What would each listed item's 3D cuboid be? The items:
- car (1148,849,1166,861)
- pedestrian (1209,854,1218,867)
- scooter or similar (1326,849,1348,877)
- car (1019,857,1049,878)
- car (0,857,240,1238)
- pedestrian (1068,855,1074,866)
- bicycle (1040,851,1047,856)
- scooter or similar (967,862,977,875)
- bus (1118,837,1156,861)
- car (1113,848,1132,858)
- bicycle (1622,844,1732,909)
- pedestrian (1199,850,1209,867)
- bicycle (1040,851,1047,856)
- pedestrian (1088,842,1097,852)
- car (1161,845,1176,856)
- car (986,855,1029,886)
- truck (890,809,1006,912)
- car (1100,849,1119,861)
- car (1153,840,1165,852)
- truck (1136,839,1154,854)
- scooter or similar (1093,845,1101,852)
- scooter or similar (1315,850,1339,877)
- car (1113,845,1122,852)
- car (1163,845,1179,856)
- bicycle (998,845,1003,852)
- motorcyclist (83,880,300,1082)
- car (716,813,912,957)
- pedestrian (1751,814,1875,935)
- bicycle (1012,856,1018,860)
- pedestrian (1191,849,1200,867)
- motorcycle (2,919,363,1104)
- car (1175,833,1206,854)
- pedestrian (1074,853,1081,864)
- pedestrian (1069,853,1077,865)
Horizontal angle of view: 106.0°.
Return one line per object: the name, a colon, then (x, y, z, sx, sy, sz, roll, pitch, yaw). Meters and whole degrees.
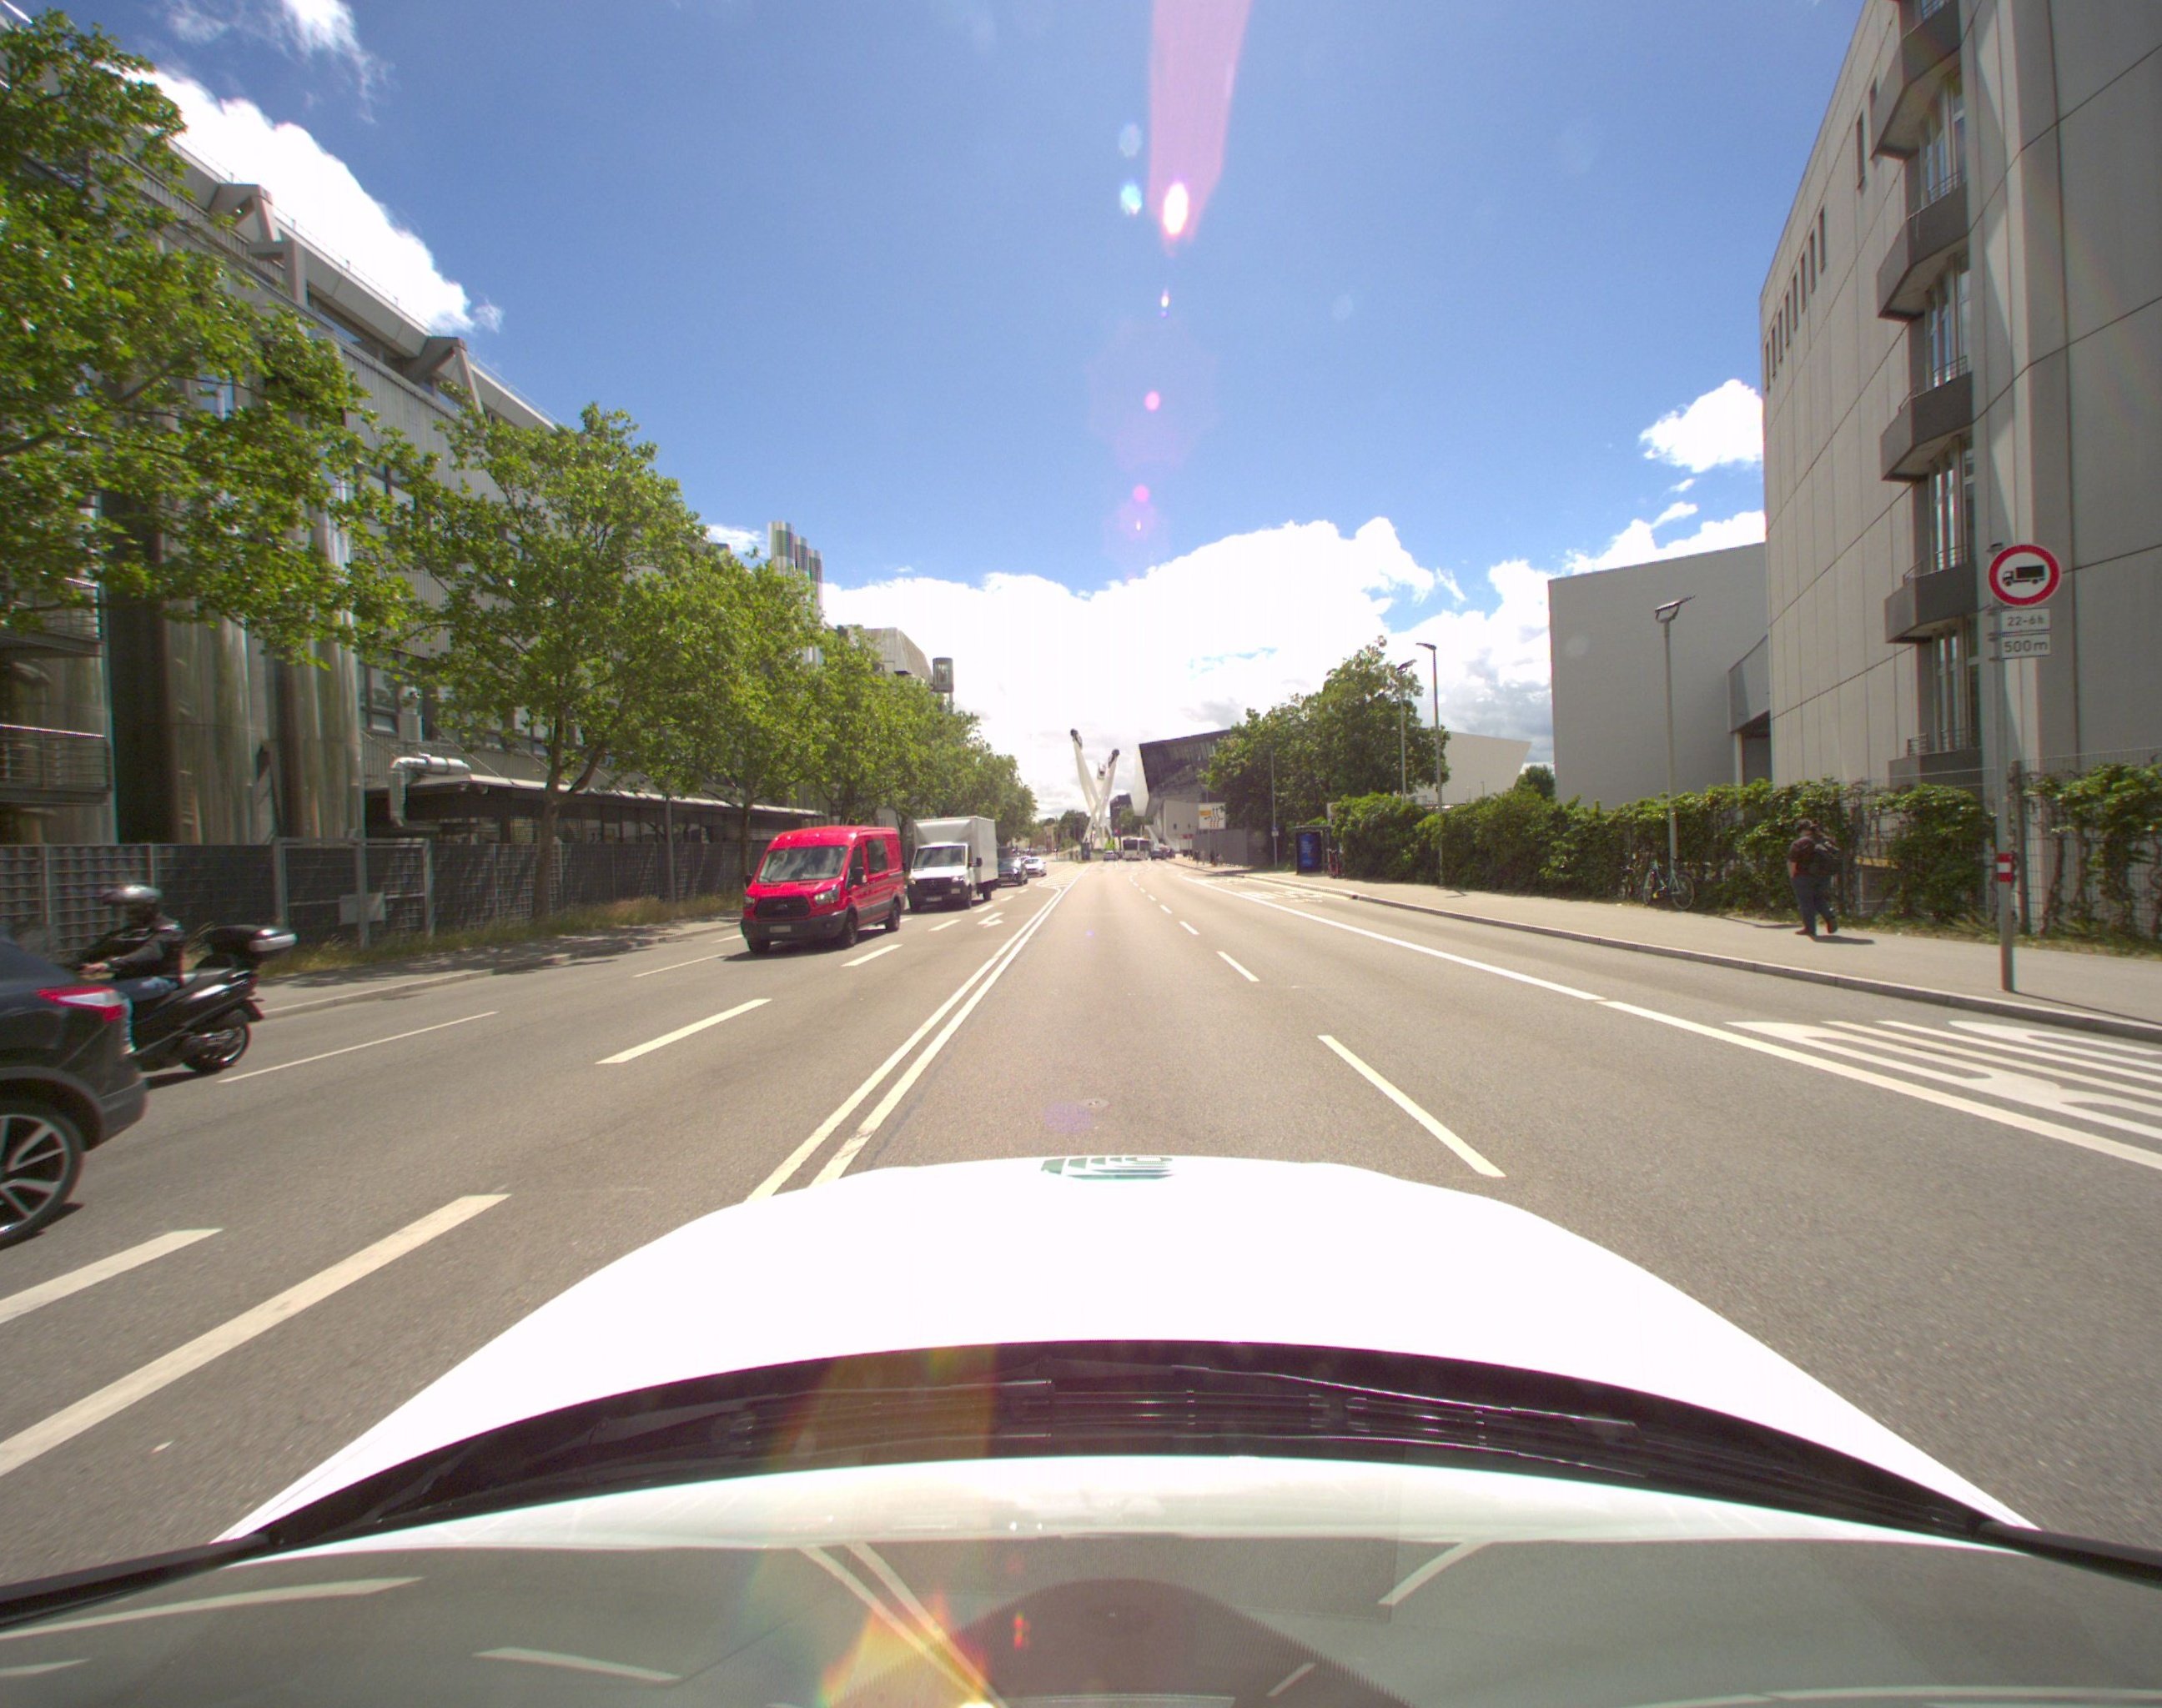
car: (11.357, 0.119, 121.826, 1.979, 1.636, 4.016, -1, 1, 15)
pedestrian: (12.169, 0.575, 74.999, 0.754, 1.148, 0.973, -1, -1, 5)
scooter or similar: (11.452, 0.387, 36.348, 0.536, 1.163, 1.803, -3, 0, 29)
car: (-3.468, 0.978, 60.663, 1.685, 1.415, 4.148, -4, 0, 2)
car: (-5.699, 0.908, 2.493, 1.730, 1.684, 4.214, -4, -1, 1)
pedestrian: (-1.726, 1.064, 137.612, 0.864, 1.774, 1.031, -1, -1, -12)
bicycle: (-9.467, -0.104, 205.046, 1.600, 1.316, 0.493, -1, -1, 1)
scooter or similar: (-10.299, 1.374, 77.103, 0.520, 1.234, 1.321, 1, 1, 9)
bus: (8.587, -0.656, 123.105, 3.048, 3.362, 12.274, -1, -1, 16)
car: (6.599, -0.156, 129.496, 1.977, 1.636, 4.020, -1, -1, 20)
bicycle: (11.786, 0.423, 16.212, 0.441, 1.180, 2.469, -1, -1, 2)
pedestrian: (12.117, 0.434, 80.231, 0.792, 1.597, 0.732, -1, -1, 1)
bicycle: (-9.447, -0.156, 206.498, 1.600, 1.382, 0.493, -1, -1, 1)
pedestrian: (2.127, -1.308, 154.317, 1.284, 1.816, 0.981, -6, 4, -16)
car: (15.299, -0.594, 142.447, 1.979, 1.932, 4.257, -1, -1, 15)
car: (-4.060, 0.889, 45.569, 1.733, 1.581, 4.269, -4, 0, 2)
truck: (-4.554, 0.202, 29.377, 2.442, 3.129, 7.249, -3, 0, 3)
car: (4.244, 0.191, 119.717, 1.979, 1.636, 4.016, -1, -1, 15)
car: (15.276, -1.545, 159.668, 1.982, 2.171, 4.667, -1, -1, 9)
truck: (11.498, -1.304, 145.112, 2.190, 2.516, 5.154, -1, -1, 16)
scooter or similar: (2.977, -1.021, 154.544, 1.405, 1.025, 0.546, -6, 6, -19)
scooter or similar: (11.361, 0.409, 37.567, 0.536, 1.163, 2.141, -3, 0, 29)
car: (8.842, -1.371, 195.652, 1.985, 1.635, 4.661, -1, 2, 4)
car: (14.317, -0.568, 129.313, 1.979, 1.636, 4.016, -1, -1, 15)
bicycle: (-10.575, -0.727, 107.472, 0.294, 1.006, 1.256, -1, -1, 12)
motorcyclist: (-7.863, 1.062, 7.269, 0.731, 1.622, 1.094, -1, -1, -1)
car: (-5.422, 0.569, 17.533, 2.055, 2.507, 5.483, -3, 0, 2)
pedestrian: (10.662, 0.295, 11.905, 0.807, 1.645, 0.997, -3, -1, 0)
bicycle: (-16.120, 0.959, 198.891, 1.590, 0.866, 0.496, -1, -1, 36)
pedestrian: (11.307, 0.390, 80.243, 0.792, 1.721, 0.732, -1, -1, 1)
motorcycle: (-7.860, 1.290, 7.370, 0.672, 1.220, 2.374, -1, -1, -2)
car: (19.555, -1.877, 145.115, 3.307, 3.504, 9.389, -1, -1, 21)
pedestrian: (-0.613, 0.708, 133.422, 0.864, 1.774, 1.031, -1, -1, -12)
pedestrian: (-1.293, 0.843, 136.090, 0.944, 2.055, 0.956, -1, -1, 21)
